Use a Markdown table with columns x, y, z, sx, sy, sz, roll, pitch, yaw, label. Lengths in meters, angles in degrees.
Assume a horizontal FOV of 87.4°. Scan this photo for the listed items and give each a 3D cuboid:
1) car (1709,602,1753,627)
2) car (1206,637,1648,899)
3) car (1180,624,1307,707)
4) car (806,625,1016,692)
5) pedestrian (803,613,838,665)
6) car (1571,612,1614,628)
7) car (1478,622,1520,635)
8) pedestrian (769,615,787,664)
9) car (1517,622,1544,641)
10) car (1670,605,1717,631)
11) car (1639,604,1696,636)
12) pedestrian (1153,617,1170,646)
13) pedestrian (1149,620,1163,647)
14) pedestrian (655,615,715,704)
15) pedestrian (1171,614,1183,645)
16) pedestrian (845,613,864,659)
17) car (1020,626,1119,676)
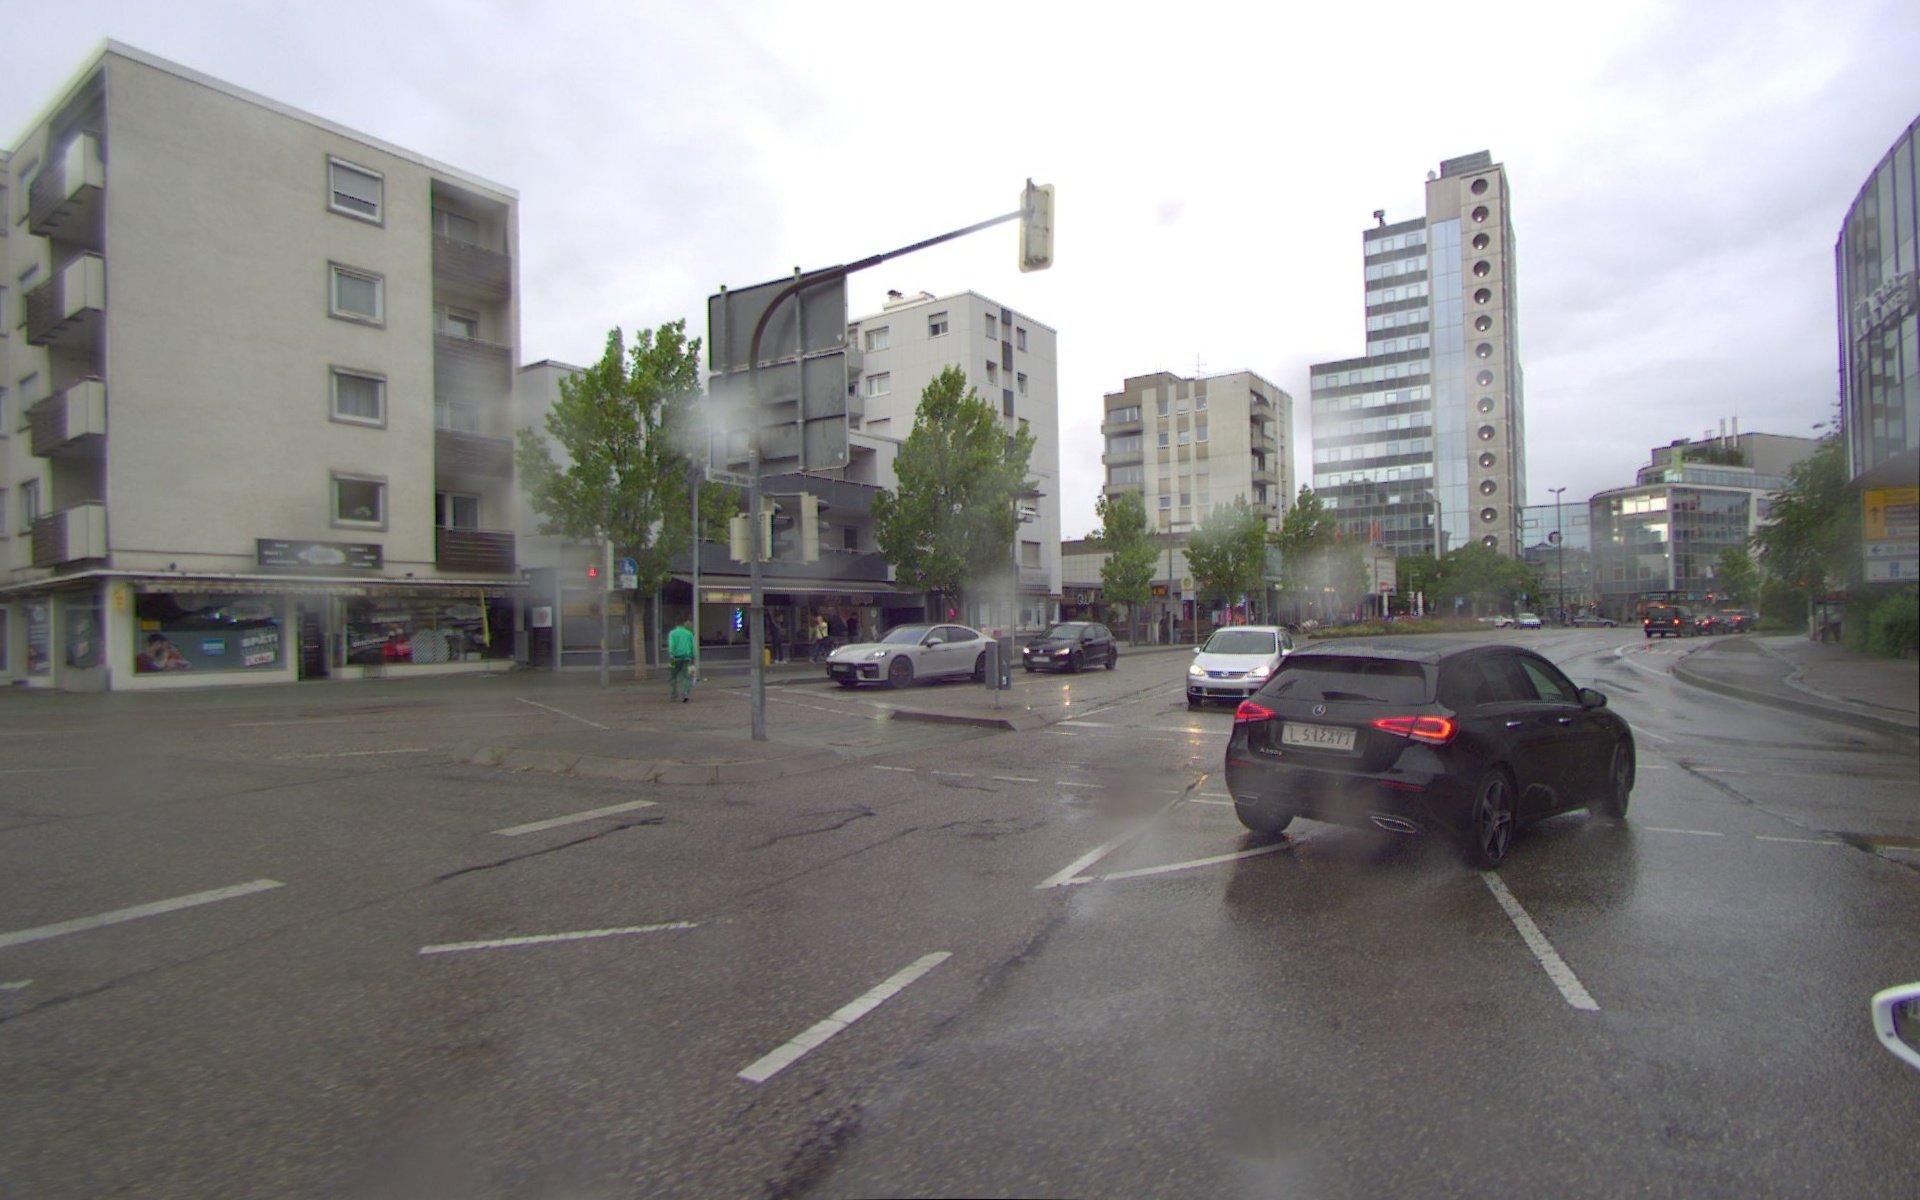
| x | y | z | sx | sy | sz | roll | pitch | yaw | label |
| --- | --- | --- | --- | --- | --- | --- | --- | --- | --- |
| 55.522 | 1.039 | 72.304 | 3.781 | 1.748 | 1.893 | -1 | -1 | -43 | car |
| 3.778 | 1.046 | 7.781 | 4.064 | 1.501 | 1.648 | 2 | -3 | -42 | car |
| 5.829 | 1.244 | 20.345 | 1.714 | 1.460 | 3.987 | -1 | -1 | 27 | car |
| -1.063 | 1.322 | 24.248 | 2.093 | 1.432 | 5.118 | 0 | -1 | 42 | car |
| -5.054 | 1.398 | 36.315 | 0.859 | 1.835 | 0.923 | -1 | -2 | 33 | pedestrian |
| 66.982 | 2.130 | 106.470 | 3.826 | 1.538 | 1.781 | -2 | -1 | 32 | car |
| 58.337 | 3.083 | 108.645 | 3.930 | 1.402 | 1.724 | -2 | -1 | 31 | car |
| -6.650 | 1.436 | 36.688 | 0.441 | 1.746 | 0.499 | -2 | -2 | 30 | pedestrian |
| 51.975 | 2.846 | 91.458 | 1.671 | 1.654 | 3.497 | -2 | -1 | 37 | car |
| 50.024 | 1.210 | 68.475 | 3.970 | 1.694 | 1.869 | -1 | -1 | -43 | car |
| 44.721 | 1.275 | 63.495 | 4.106 | 1.921 | 2.025 | -1 | -1 | -41 | car |
| 11.530 | 1.791 | 57.371 | 0.782 | 1.592 | 0.636 | -1 | 0 | 26 | pedestrian |
| 11.079 | 1.902 | 56.693 | 0.624 | 1.490 | 0.636 | -1 | 0 | 26 | pedestrian |
| -5.252 | 1.112 | 19.157 | 0.941 | 1.644 | 0.803 | 0 | -2 | -30 | pedestrian |
| 12.353 | 1.685 | 57.249 | 0.480 | 1.741 | 0.537 | -1 | 0 | 29 | pedestrian |
| -4.202 | 1.446 | 40.104 | 0.559 | 1.817 | 0.489 | -2 | -2 | 39 | pedestrian |
| 3.289 | 1.445 | 29.590 | 1.415 | 1.314 | 3.768 | -1 | -1 | 32 | car |
